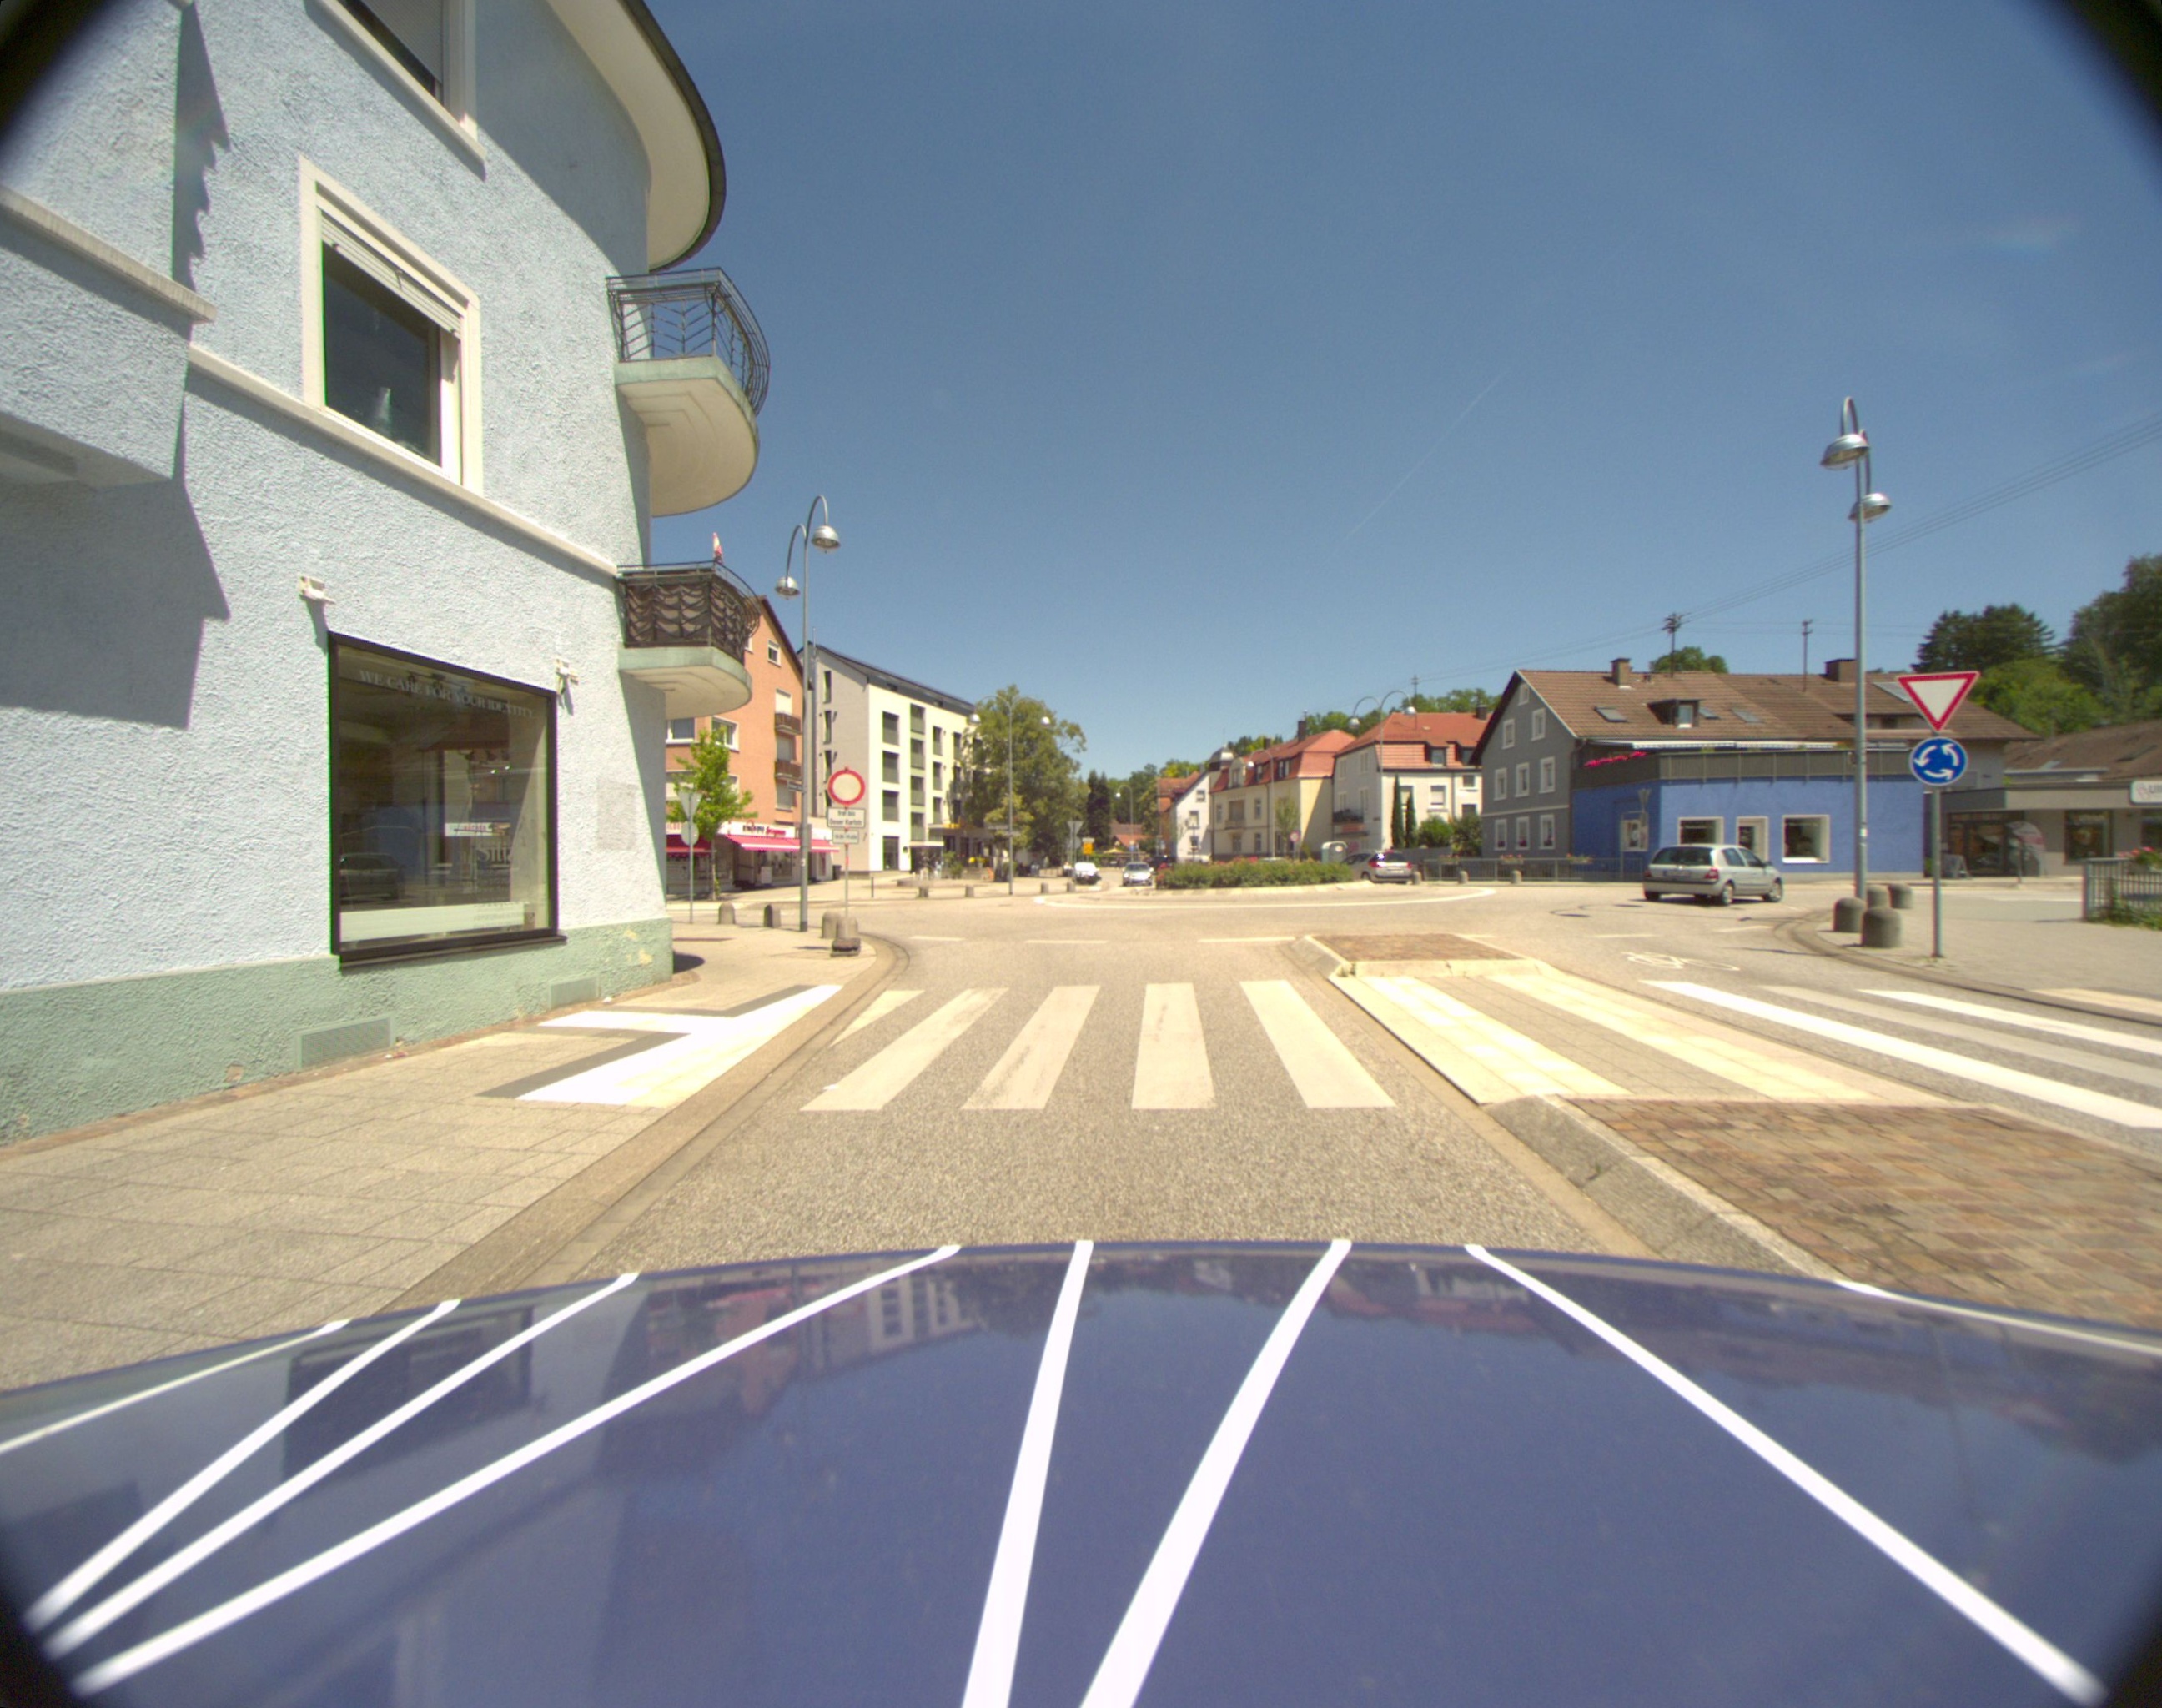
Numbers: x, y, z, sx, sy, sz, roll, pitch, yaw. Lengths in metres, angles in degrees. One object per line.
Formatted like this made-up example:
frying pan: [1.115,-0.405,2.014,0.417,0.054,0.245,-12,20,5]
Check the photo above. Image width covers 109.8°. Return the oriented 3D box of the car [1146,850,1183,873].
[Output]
car: [8.109,0.685,73.803,2.002,2.002,3.992,-2,2,-19]

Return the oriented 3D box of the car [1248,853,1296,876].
car: [12.979,0.678,51.883,1.609,1.384,4.075,-4,1,-10]

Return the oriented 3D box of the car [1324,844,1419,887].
car: [11.729,0.526,30.996,1.745,1.507,4.207,-2,-3,-8]

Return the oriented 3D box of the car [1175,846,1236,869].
car: [15.259,0.415,93.581,7.045,2.727,2.378,-1,0,-2]

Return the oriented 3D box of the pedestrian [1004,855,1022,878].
pedestrian: [-4.968,0.897,55.449,0.816,1.639,0.953,-1,1,37]

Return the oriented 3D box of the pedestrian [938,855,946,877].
pedestrian: [-10.346,0.887,56.420,0.449,1.609,0.451,-1,0,4]

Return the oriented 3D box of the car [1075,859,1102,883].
car: [0.472,1.142,52.128,1.795,1.515,4.000,-1,0,-1]

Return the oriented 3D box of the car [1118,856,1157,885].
car: [3.403,0.990,46.754,1.999,1.646,4.203,-1,0,-1]

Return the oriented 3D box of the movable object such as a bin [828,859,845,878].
movable object such as a bin: [-16.309,0.949,50.749,0.746,1.245,0.838,-1,0,8]

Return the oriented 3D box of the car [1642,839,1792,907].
car: [15.266,0.388,18.208,3.724,1.405,1.545,-1,3,-30]
